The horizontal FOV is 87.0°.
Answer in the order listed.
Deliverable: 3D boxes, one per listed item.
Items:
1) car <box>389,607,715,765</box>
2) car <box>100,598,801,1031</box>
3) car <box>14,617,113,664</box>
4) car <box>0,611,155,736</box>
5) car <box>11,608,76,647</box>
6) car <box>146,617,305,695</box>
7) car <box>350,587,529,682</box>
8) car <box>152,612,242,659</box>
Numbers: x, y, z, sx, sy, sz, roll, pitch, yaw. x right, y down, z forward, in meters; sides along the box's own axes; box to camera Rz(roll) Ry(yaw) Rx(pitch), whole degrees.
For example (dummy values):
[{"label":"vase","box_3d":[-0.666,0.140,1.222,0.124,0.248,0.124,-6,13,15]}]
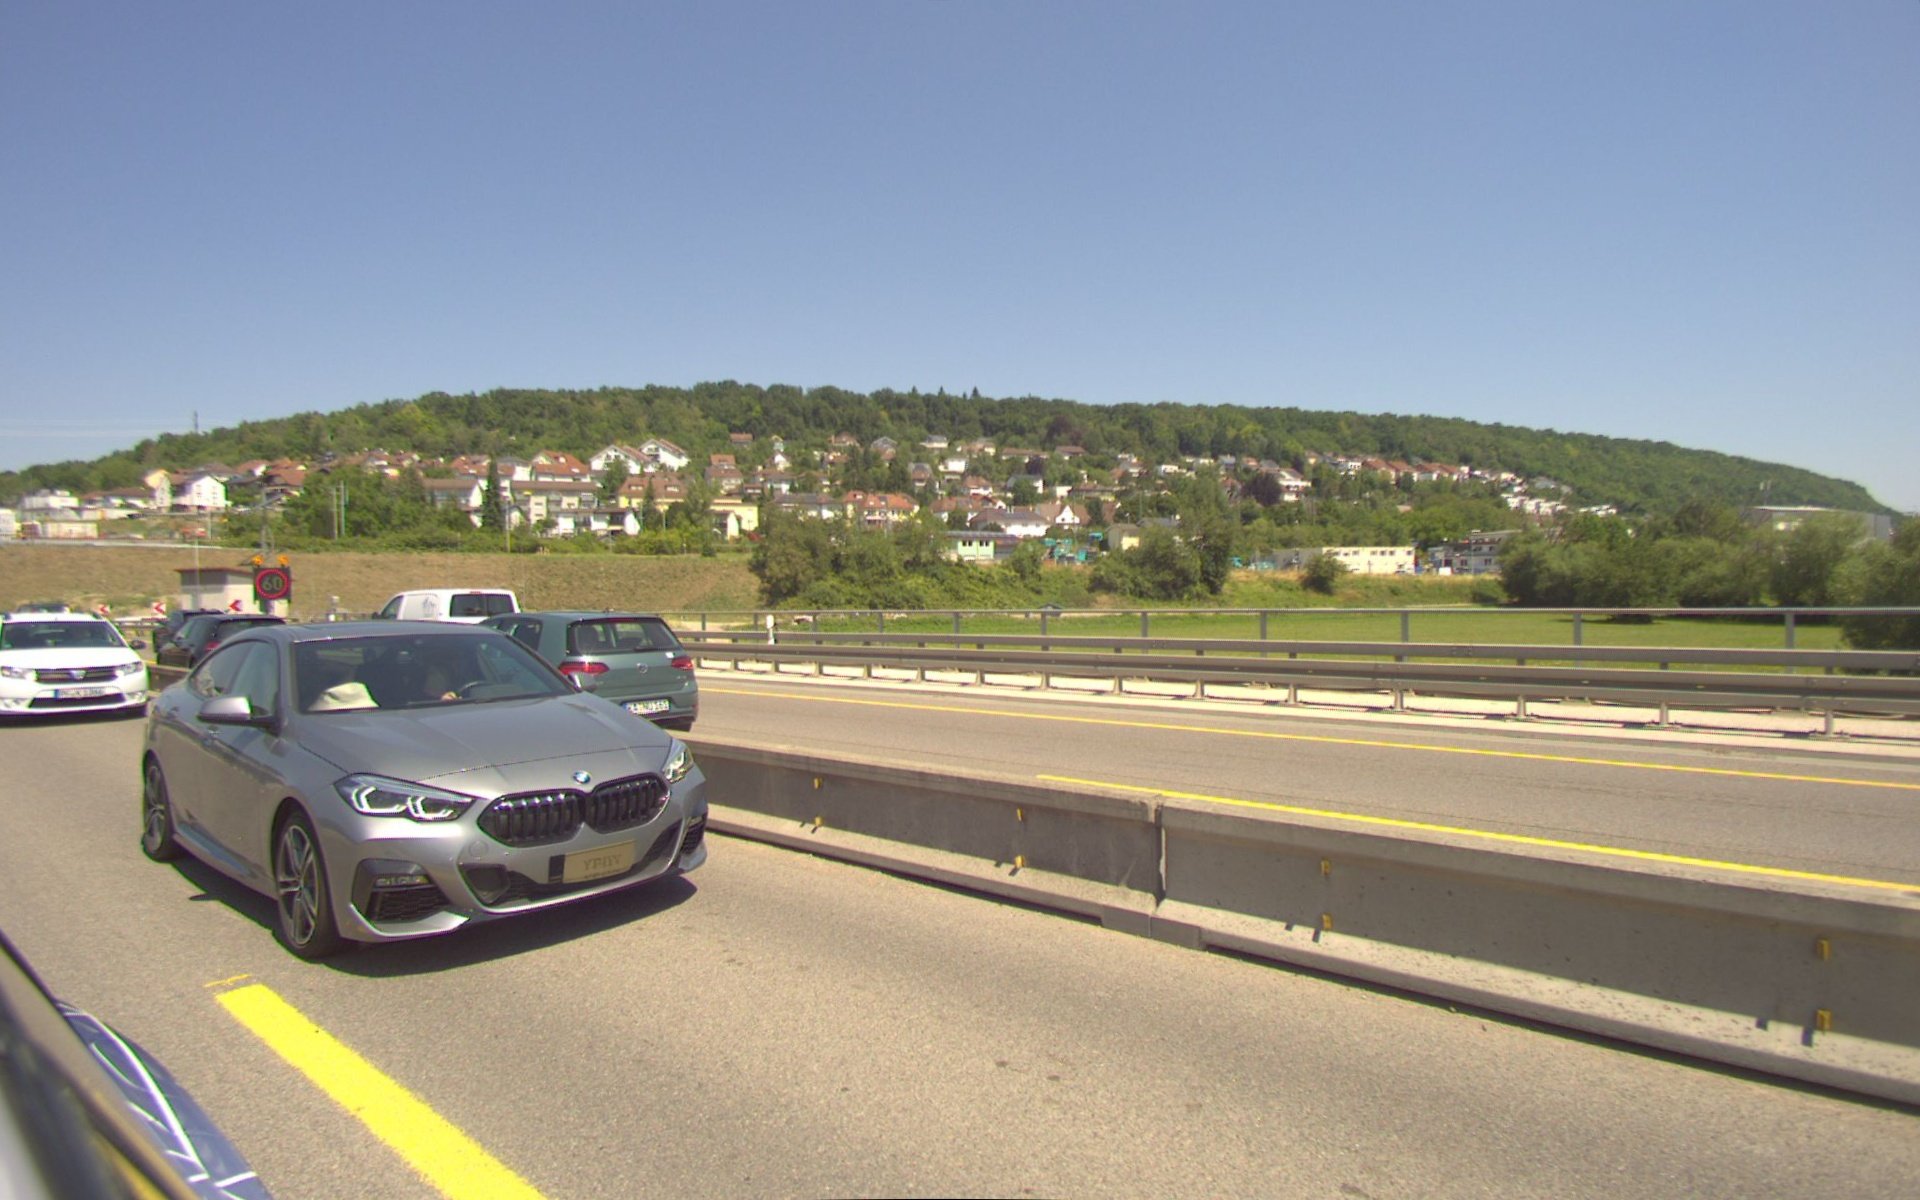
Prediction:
[{"label":"car","box_3d":[-4.570,0.828,11.056,4.100,1.419,1.614,-1,-2,41]},{"label":"car","box_3d":[-3.150,0.775,5.678,4.739,1.463,1.833,-1,-1,41]},{"label":"car","box_3d":[-29.313,1.298,33.047,4.654,1.429,1.806,-2,-2,41]},{"label":"car","box_3d":[-13.359,0.948,14.782,4.705,1.542,1.799,0,0,42]},{"label":"car","box_3d":[-49.093,1.459,54.187,4.935,1.948,1.904,-1,1,41]},{"label":"car","box_3d":[-14.729,1.072,20.217,4.153,1.402,1.661,-2,-2,41]},{"label":"car","box_3d":[-11.552,0.741,22.348,4.624,1.882,1.840,-1,-2,39]},{"label":"car","box_3d":[-27.316,1.235,36.195,3.998,1.581,1.794,-1,-2,41]}]
